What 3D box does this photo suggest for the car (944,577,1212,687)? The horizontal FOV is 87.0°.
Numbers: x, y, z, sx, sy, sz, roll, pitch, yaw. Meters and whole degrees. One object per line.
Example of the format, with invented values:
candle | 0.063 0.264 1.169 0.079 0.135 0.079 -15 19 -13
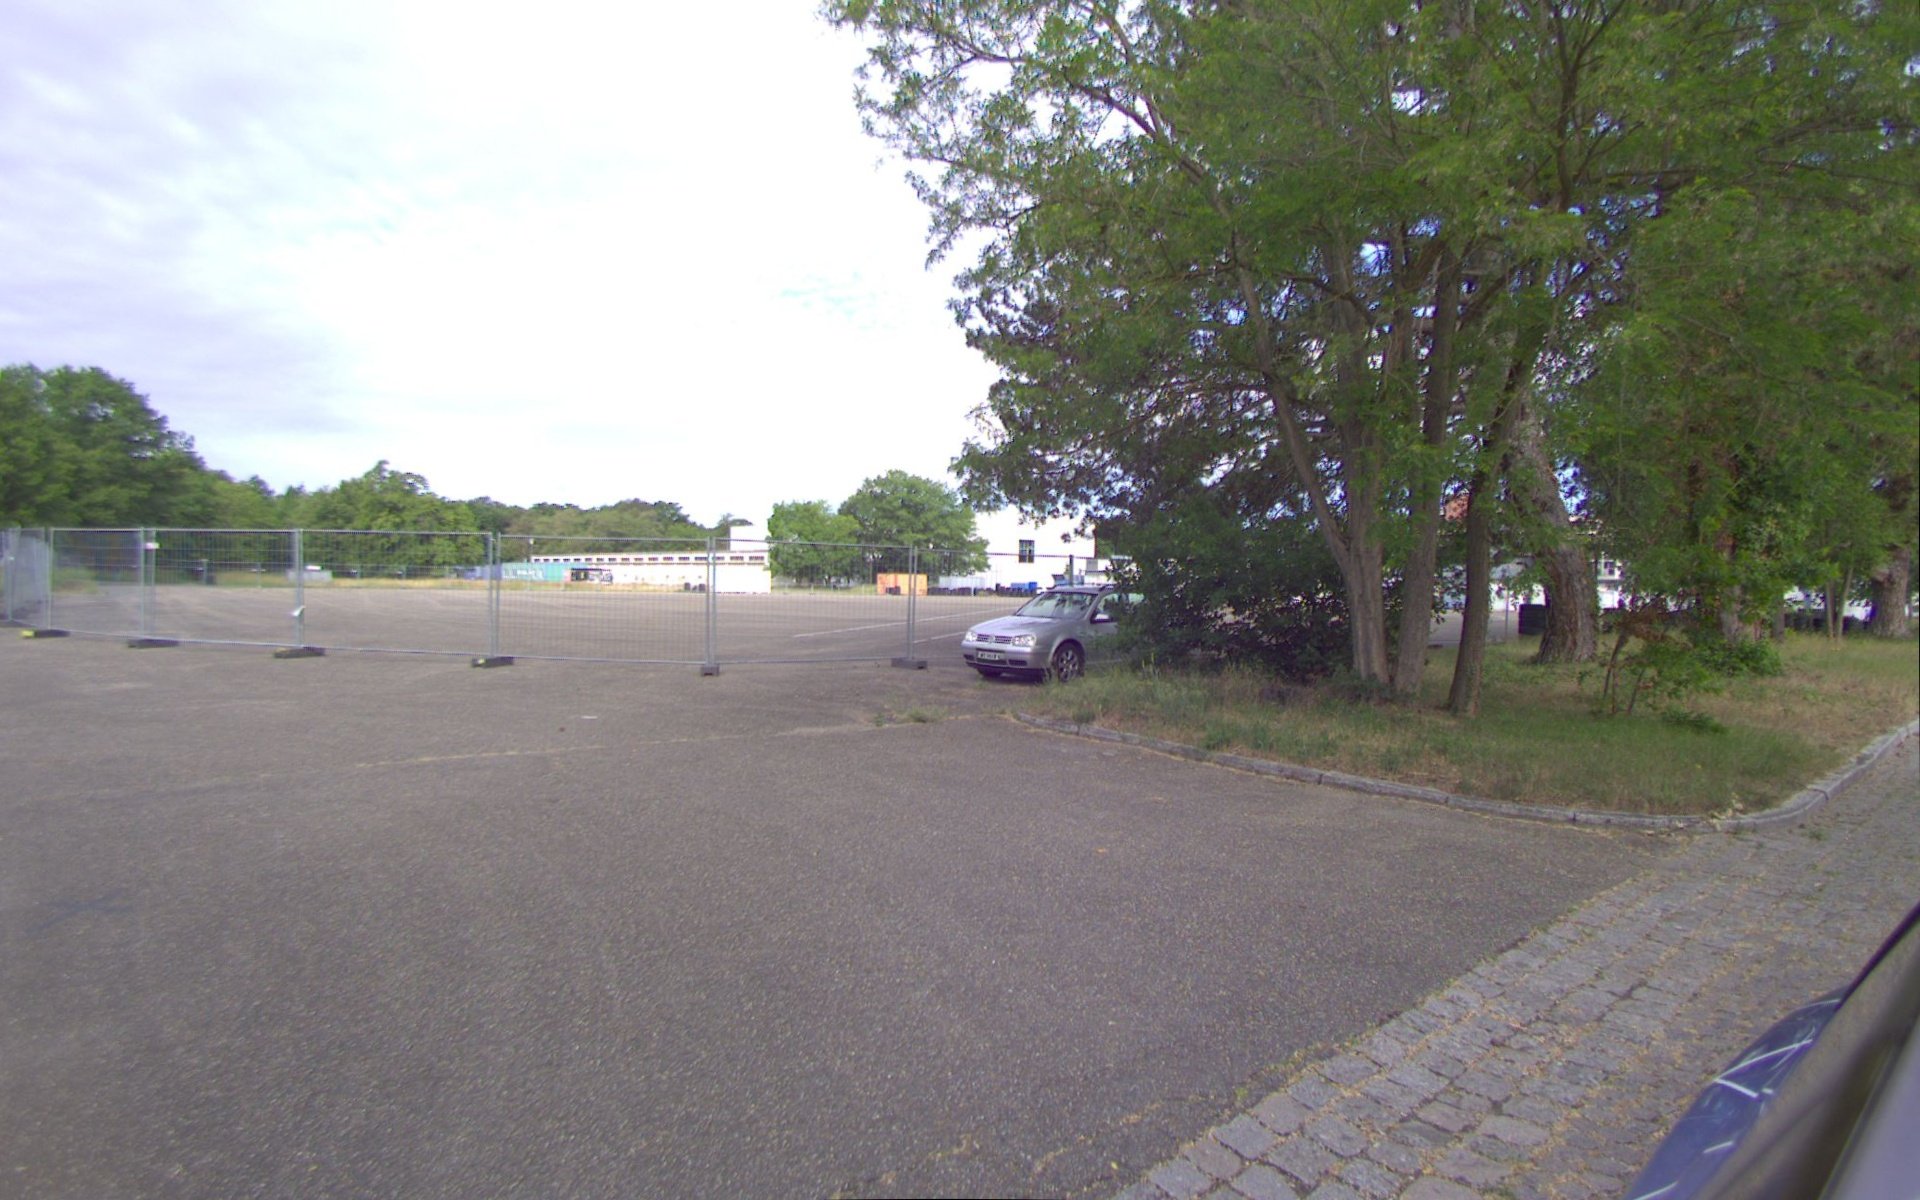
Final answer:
car | 1.952 0.431 15.887 4.251 1.466 1.758 0 1 -41
